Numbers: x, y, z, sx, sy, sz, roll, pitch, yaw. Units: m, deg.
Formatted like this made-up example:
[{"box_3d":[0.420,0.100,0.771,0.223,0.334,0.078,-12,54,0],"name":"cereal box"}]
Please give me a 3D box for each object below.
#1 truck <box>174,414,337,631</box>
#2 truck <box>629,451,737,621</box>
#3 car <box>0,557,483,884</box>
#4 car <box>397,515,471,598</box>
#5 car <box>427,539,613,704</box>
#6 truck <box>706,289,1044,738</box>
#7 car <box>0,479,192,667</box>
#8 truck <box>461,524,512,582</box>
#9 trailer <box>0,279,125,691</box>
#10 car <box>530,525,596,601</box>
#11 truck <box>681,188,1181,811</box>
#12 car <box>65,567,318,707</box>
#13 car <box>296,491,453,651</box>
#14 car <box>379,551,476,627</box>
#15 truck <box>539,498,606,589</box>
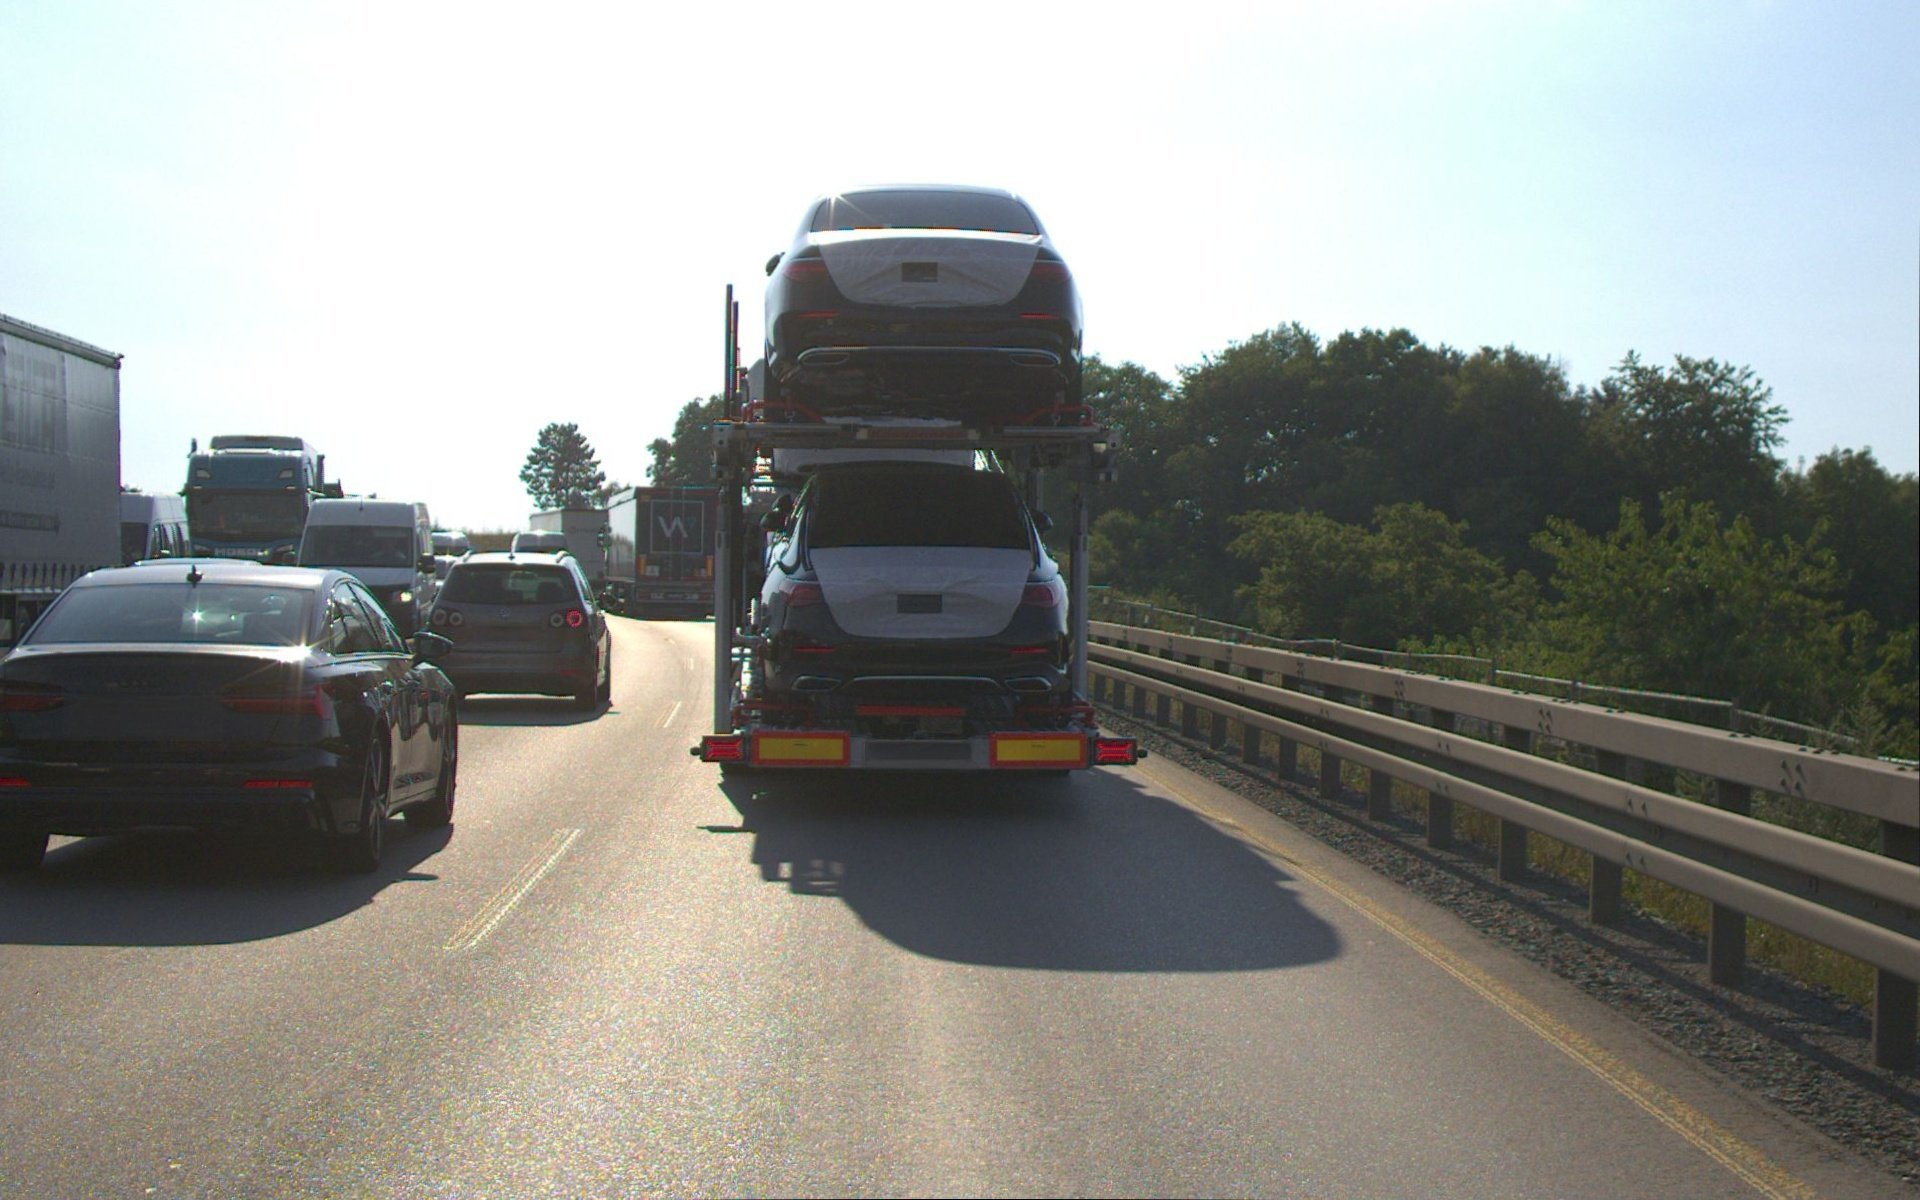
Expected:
[{"box_3d":[-13.711,-1.466,67.284,2.503,4.052,5.885,0,0,-5],"name":"truck"},{"box_3d":[-8.956,-2.000,110.385,3.285,5.219,9.937,0,0,-5],"name":"truck"},{"box_3d":[-3.686,0.497,17.531,1.934,1.394,4.961,0,1,-2],"name":"car"},{"box_3d":[-16.106,-1.319,105.517,2.104,2.474,6.068,0,0,-7],"name":"car"},{"box_3d":[-4.448,0.194,35.194,1.691,1.590,4.001,0,0,-4],"name":"car"},{"box_3d":[-1.047,-0.767,33.971,2.837,3.779,9.988,0,0,-4],"name":"truck"},{"box_3d":[-12.499,-0.394,49.391,2.157,2.549,5.590,0,0,-5],"name":"car"},{"box_3d":[-26.247,-2.601,190.601,2.590,3.159,6.678,0,0,-6],"name":"truck"},{"box_3d":[-10.741,-1.154,34.210,2.306,4.116,14.603,0,0,-4],"name":"trailer"},{"box_3d":[-13.292,-1.237,115.388,1.920,2.484,5.409,0,0,-4],"name":"car"},{"box_3d":[-0.442,-0.606,24.599,2.799,3.485,10.606,0,0,-3],"name":"truck"},{"box_3d":[-8.003,0.343,36.218,1.759,1.373,4.768,0,0,-2],"name":"car"},{"box_3d":[-9.630,-0.479,56.983,2.056,2.491,6.777,0,0,-5],"name":"car"},{"box_3d":[-12.184,-0.269,78.910,1.870,1.688,4.597,0,0,-5],"name":"car"},{"box_3d":[-15.945,-2.308,141.844,2.530,3.635,8.907,0,0,-5],"name":"truck"}]
